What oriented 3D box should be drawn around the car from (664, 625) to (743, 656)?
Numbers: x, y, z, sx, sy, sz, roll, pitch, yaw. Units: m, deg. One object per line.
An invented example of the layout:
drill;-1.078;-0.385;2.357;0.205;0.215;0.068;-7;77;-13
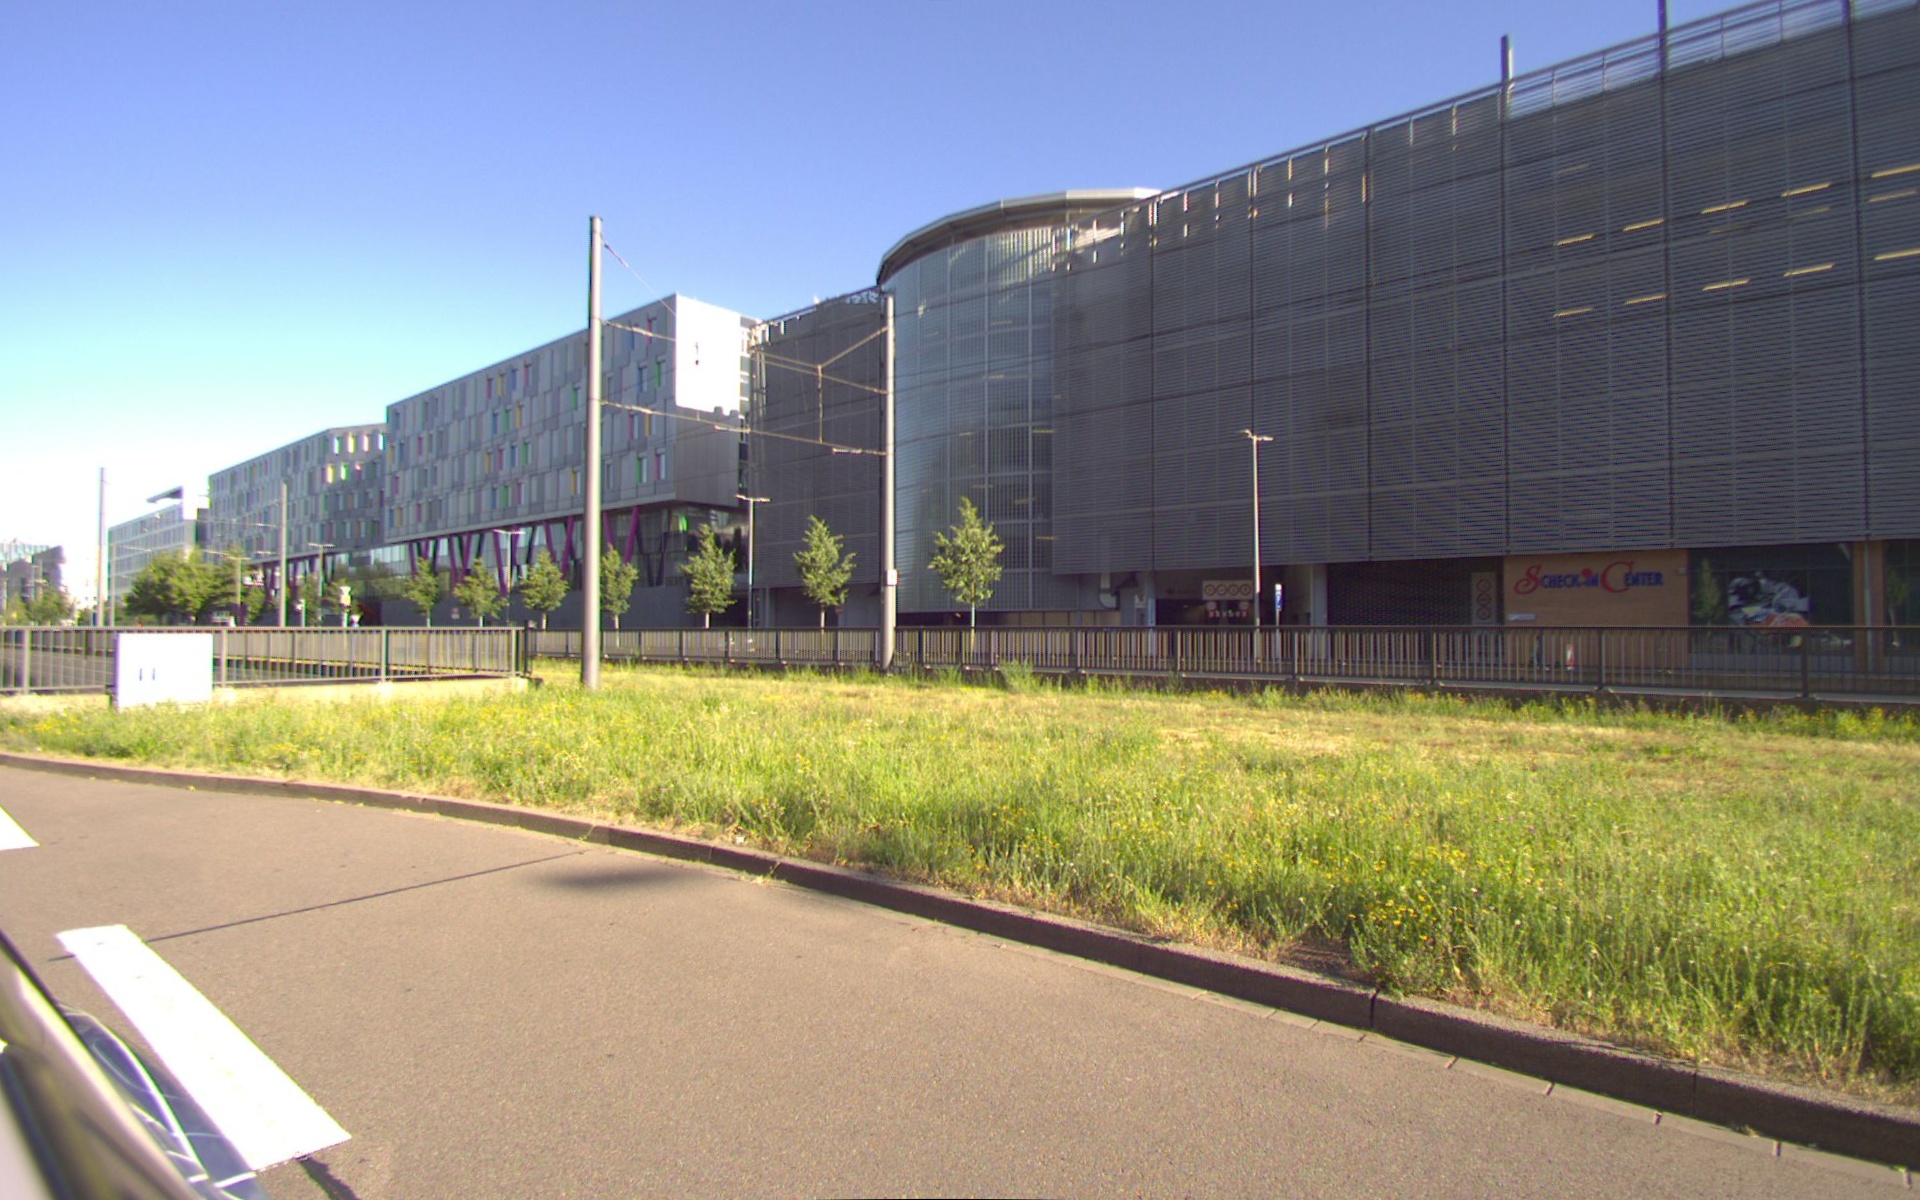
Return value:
car;-13.215;2.065;52.029;4.242;1.512;1.972;-2;-2;42
